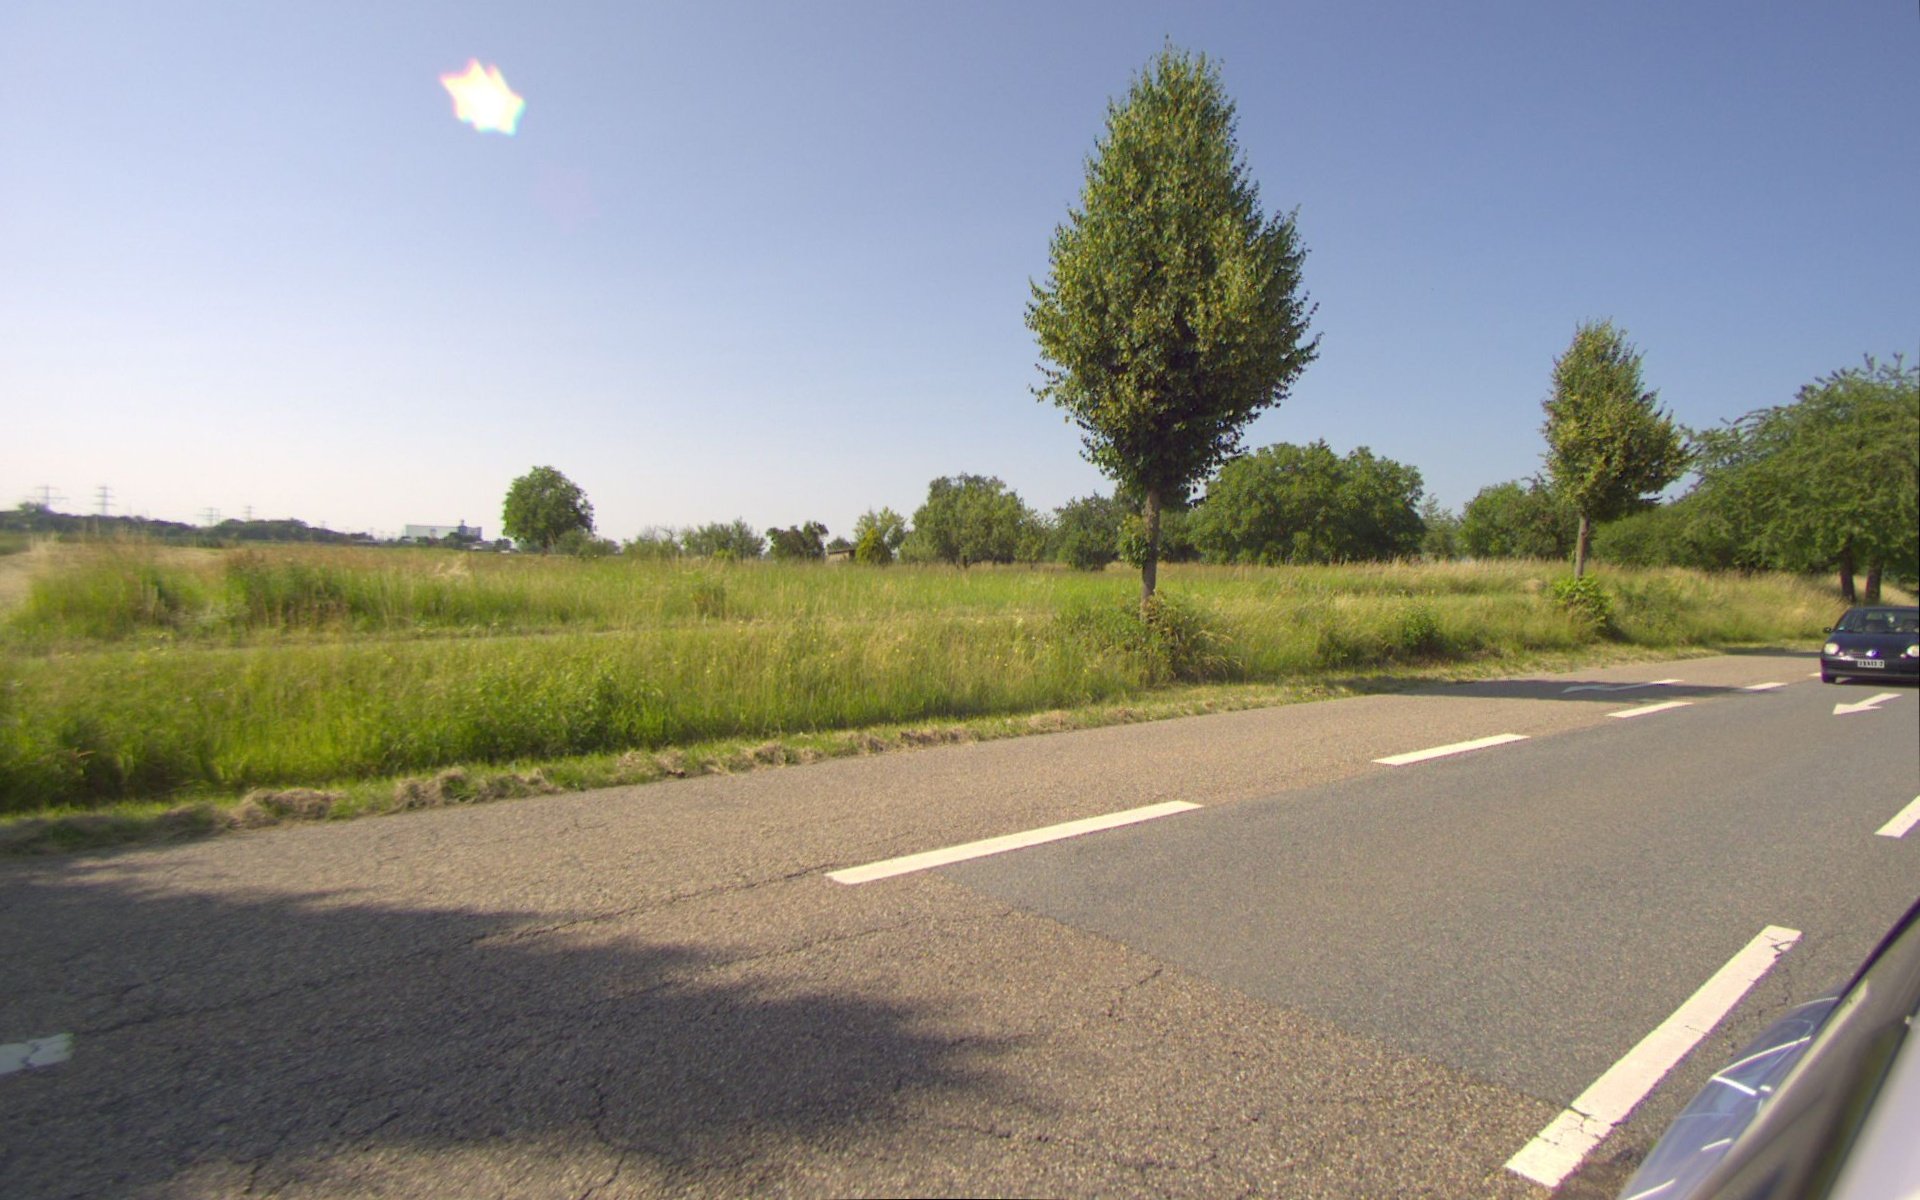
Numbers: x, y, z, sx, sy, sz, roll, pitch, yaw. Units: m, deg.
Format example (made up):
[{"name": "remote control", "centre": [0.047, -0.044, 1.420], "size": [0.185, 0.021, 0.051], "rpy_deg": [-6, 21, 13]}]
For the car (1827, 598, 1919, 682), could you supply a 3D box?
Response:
[{"name": "car", "centre": [17.757, 0.692, 19.013], "size": [3.557, 1.451, 1.629], "rpy_deg": [0, 1, -39]}]
